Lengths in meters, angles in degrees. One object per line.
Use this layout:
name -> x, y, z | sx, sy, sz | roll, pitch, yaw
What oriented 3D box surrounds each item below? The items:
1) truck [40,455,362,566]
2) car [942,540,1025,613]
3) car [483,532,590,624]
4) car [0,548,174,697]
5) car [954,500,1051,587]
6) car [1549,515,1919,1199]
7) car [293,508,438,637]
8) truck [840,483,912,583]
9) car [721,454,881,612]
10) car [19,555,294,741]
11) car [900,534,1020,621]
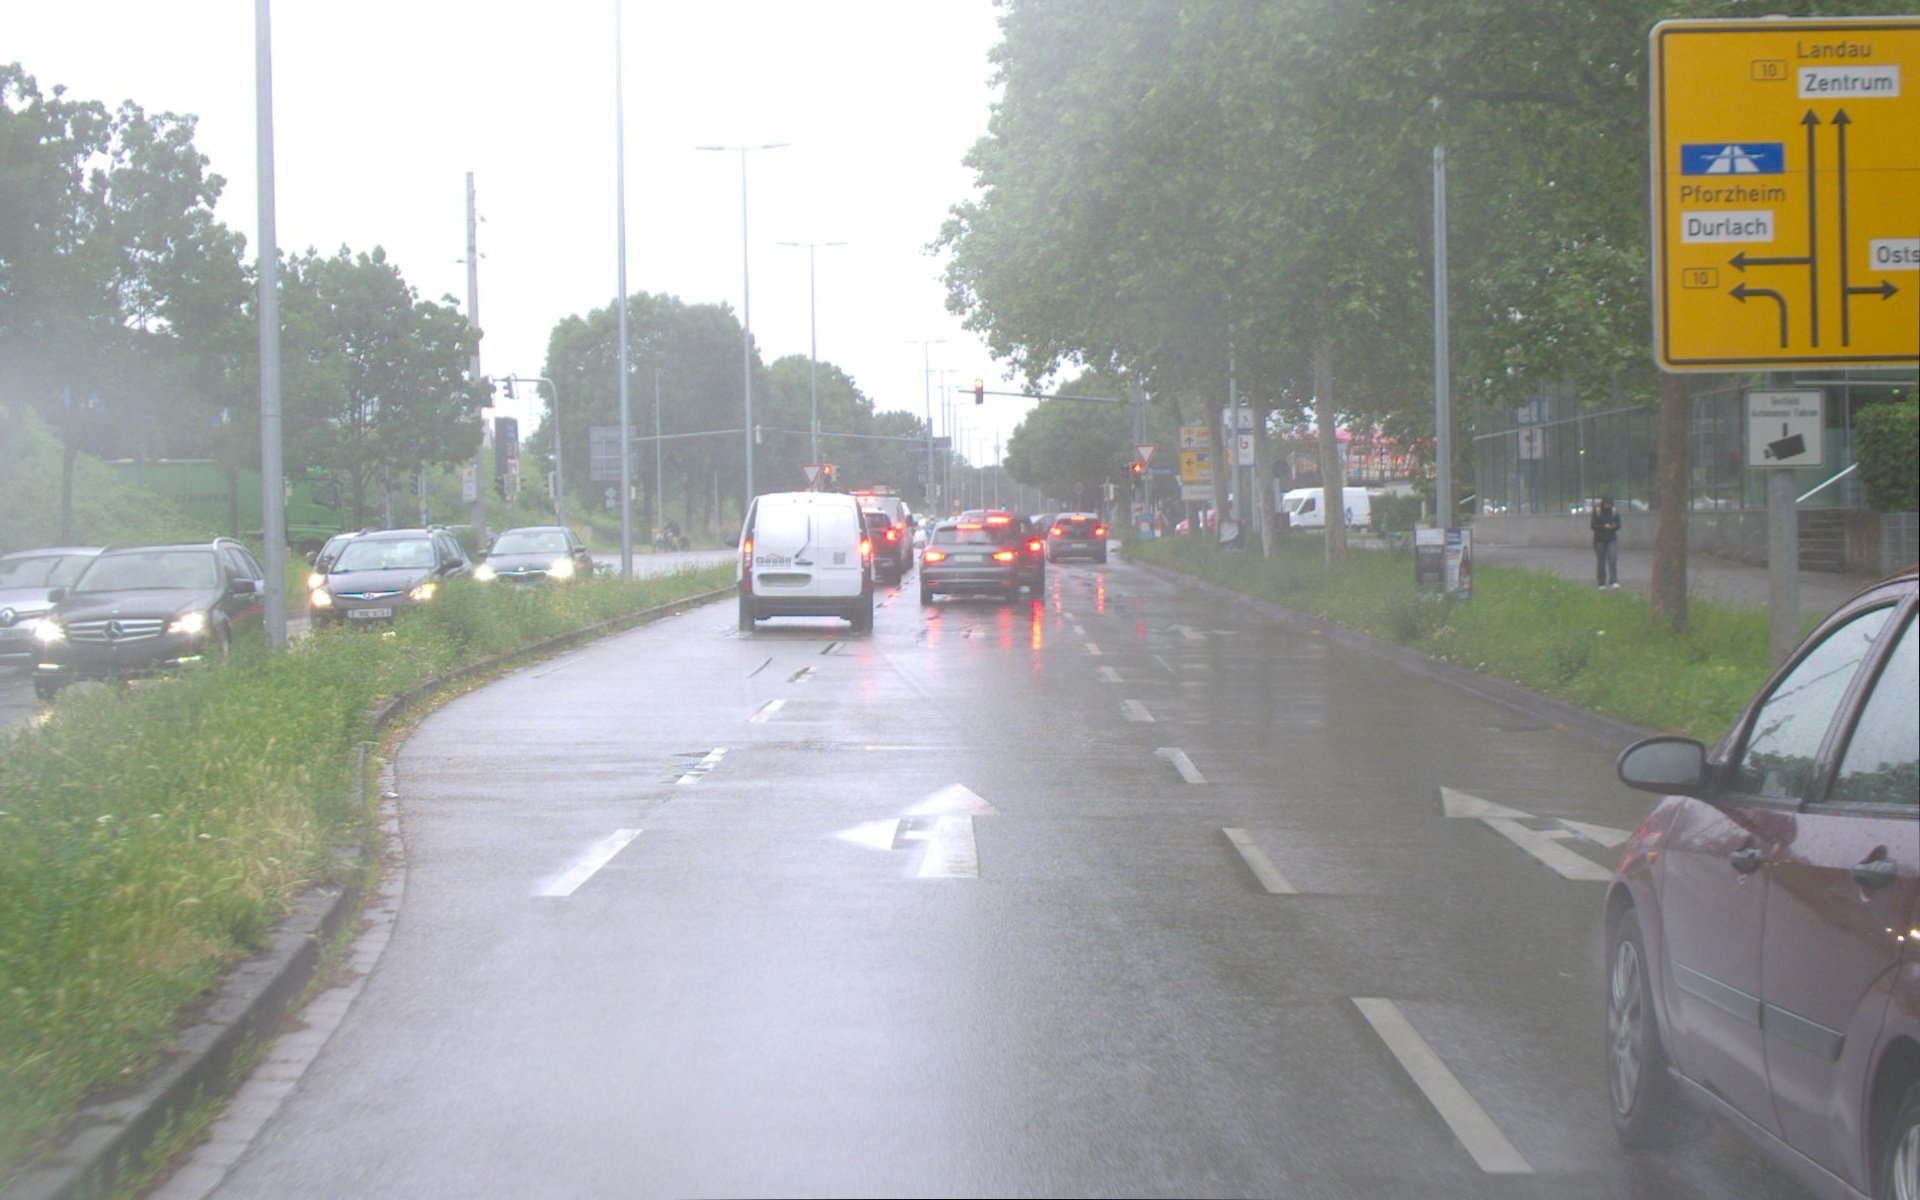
truck -> -24.853, -2.887, 112.908 | 10.110, 3.440, 2.658 | 0, 0, -36
car -> 0.510, -0.529, 73.597 | 1.711, 1.440, 4.000 | -1, 2, 1
car -> -7.773, -0.436, 63.386 | 1.720, 1.612, 4.347 | -1, 1, -4
car -> -10.972, 0.257, 41.124 | 1.908, 1.569, 4.709 | -4, 1, 1
car -> 0.781, -1.099, 65.534 | 1.708, 1.544, 4.001 | 0, 2, -1
car -> 2.437, 0.612, 6.703 | 1.839, 1.531, 4.112 | 0, 1, 0
car -> -8.092, -0.421, 46.931 | 1.823, 1.569, 4.361 | -2, 3, -9
truck -> -2.087, -1.692, 86.391 | 1.756, 2.458, 4.000 | 0, 1, -1
car -> -2.070, -0.847, 45.686 | 1.993, 2.007, 4.000 | 0, 0, -1
car -> -7.731, 0.402, 33.488 | 1.908, 1.569, 4.710 | -3, 1, -5
car -> -0.031, -0.413, 59.180 | 1.993, 1.447, 4.000 | 0, 1, -1
